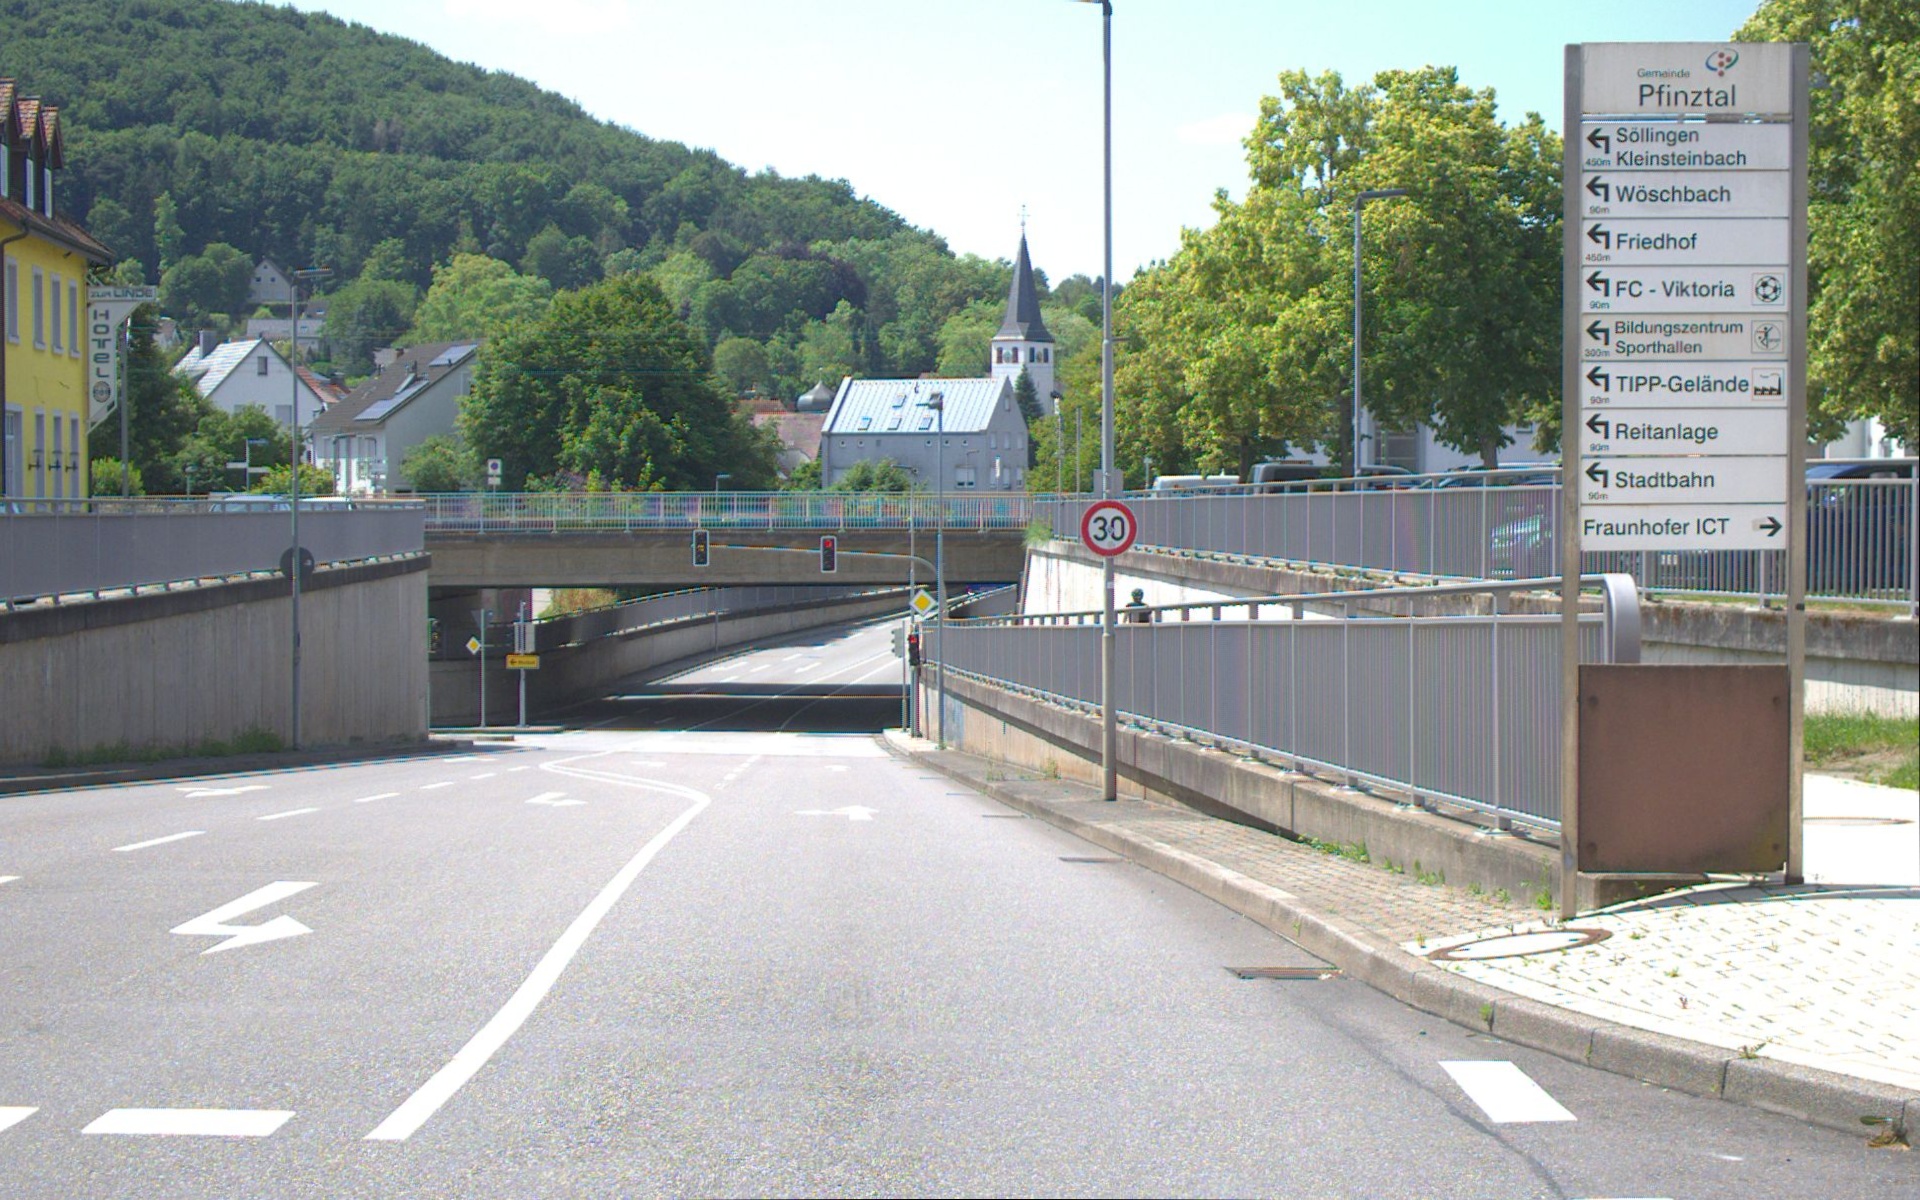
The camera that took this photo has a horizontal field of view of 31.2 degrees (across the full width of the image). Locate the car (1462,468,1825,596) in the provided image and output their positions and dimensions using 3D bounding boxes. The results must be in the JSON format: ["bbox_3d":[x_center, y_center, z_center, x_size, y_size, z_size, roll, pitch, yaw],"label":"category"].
[{"bbox_3d":[8.138,-0.813,41.173,3.987,1.423,1.725,1,1,0],"label":"car"}]

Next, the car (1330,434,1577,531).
[{"bbox_3d":[8.451,-2.014,59.132,3.987,1.481,1.769,1,-2,1],"label":"car"}]

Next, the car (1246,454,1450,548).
[{"bbox_3d":[7.977,-2.024,70.884,3.987,1.764,1.769,1,-2,1],"label":"car"}]

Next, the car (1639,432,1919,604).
[{"bbox_3d":[9.535,-0.830,36.830,3.986,1.624,1.863,2,-2,-11],"label":"car"}]

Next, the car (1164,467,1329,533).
[{"bbox_3d":[7.160,-2.490,86.254,3.987,1.481,1.769,1,-2,1],"label":"car"}]

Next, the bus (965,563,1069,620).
[{"bbox_3d":[3.361,-0.520,197.273,2.583,3.162,12.366,1,1,17],"label":"bus"}]
